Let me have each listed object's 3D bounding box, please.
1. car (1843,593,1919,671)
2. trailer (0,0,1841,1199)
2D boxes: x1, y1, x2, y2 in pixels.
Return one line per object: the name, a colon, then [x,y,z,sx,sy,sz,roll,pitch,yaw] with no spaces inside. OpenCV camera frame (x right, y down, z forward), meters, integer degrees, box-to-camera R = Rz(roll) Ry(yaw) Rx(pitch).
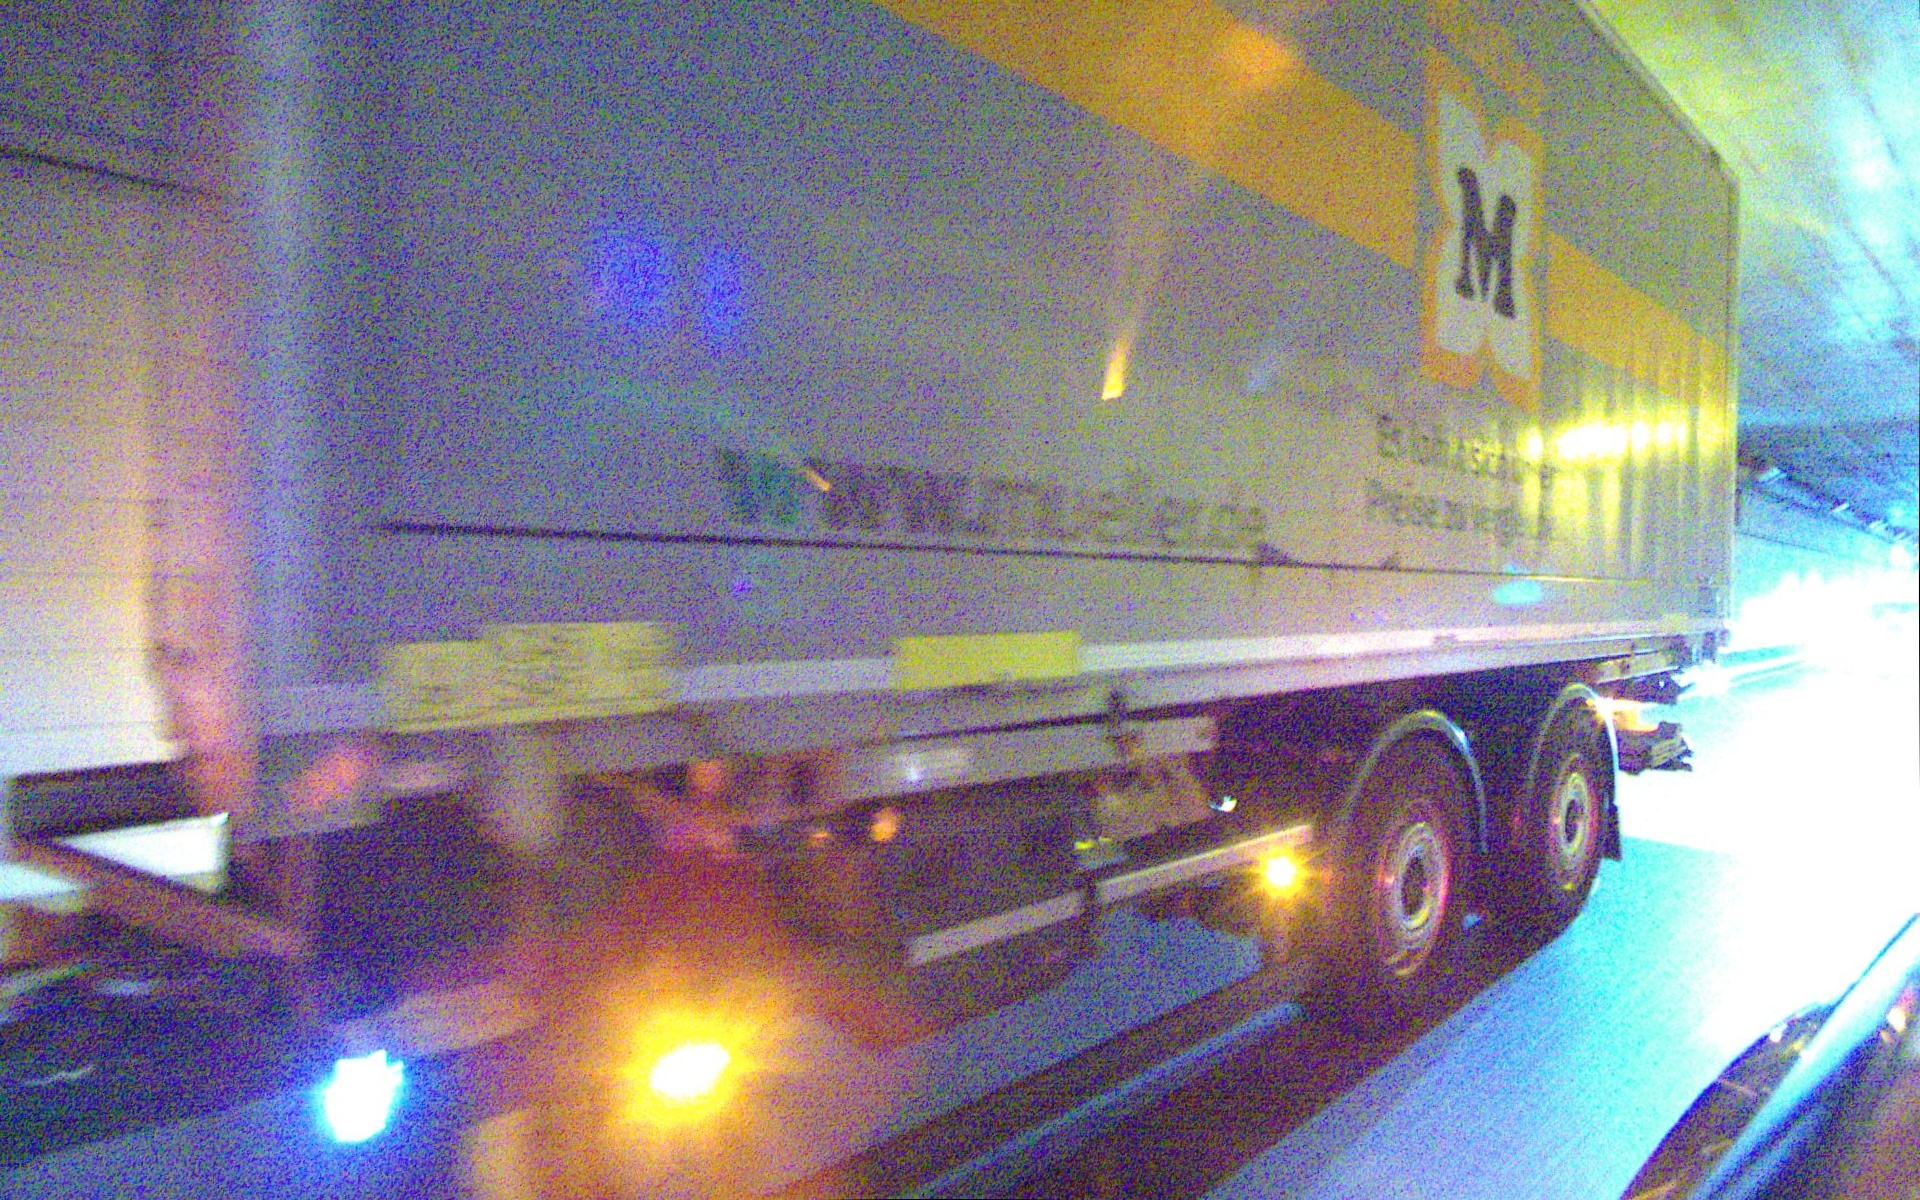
car: [19.210,0.600,20.304,3.732,1.420,1.734,-1,1,-41]
trailer: [0.743,-0.711,4.107,8.789,3.906,2.882,0,2,-40]
